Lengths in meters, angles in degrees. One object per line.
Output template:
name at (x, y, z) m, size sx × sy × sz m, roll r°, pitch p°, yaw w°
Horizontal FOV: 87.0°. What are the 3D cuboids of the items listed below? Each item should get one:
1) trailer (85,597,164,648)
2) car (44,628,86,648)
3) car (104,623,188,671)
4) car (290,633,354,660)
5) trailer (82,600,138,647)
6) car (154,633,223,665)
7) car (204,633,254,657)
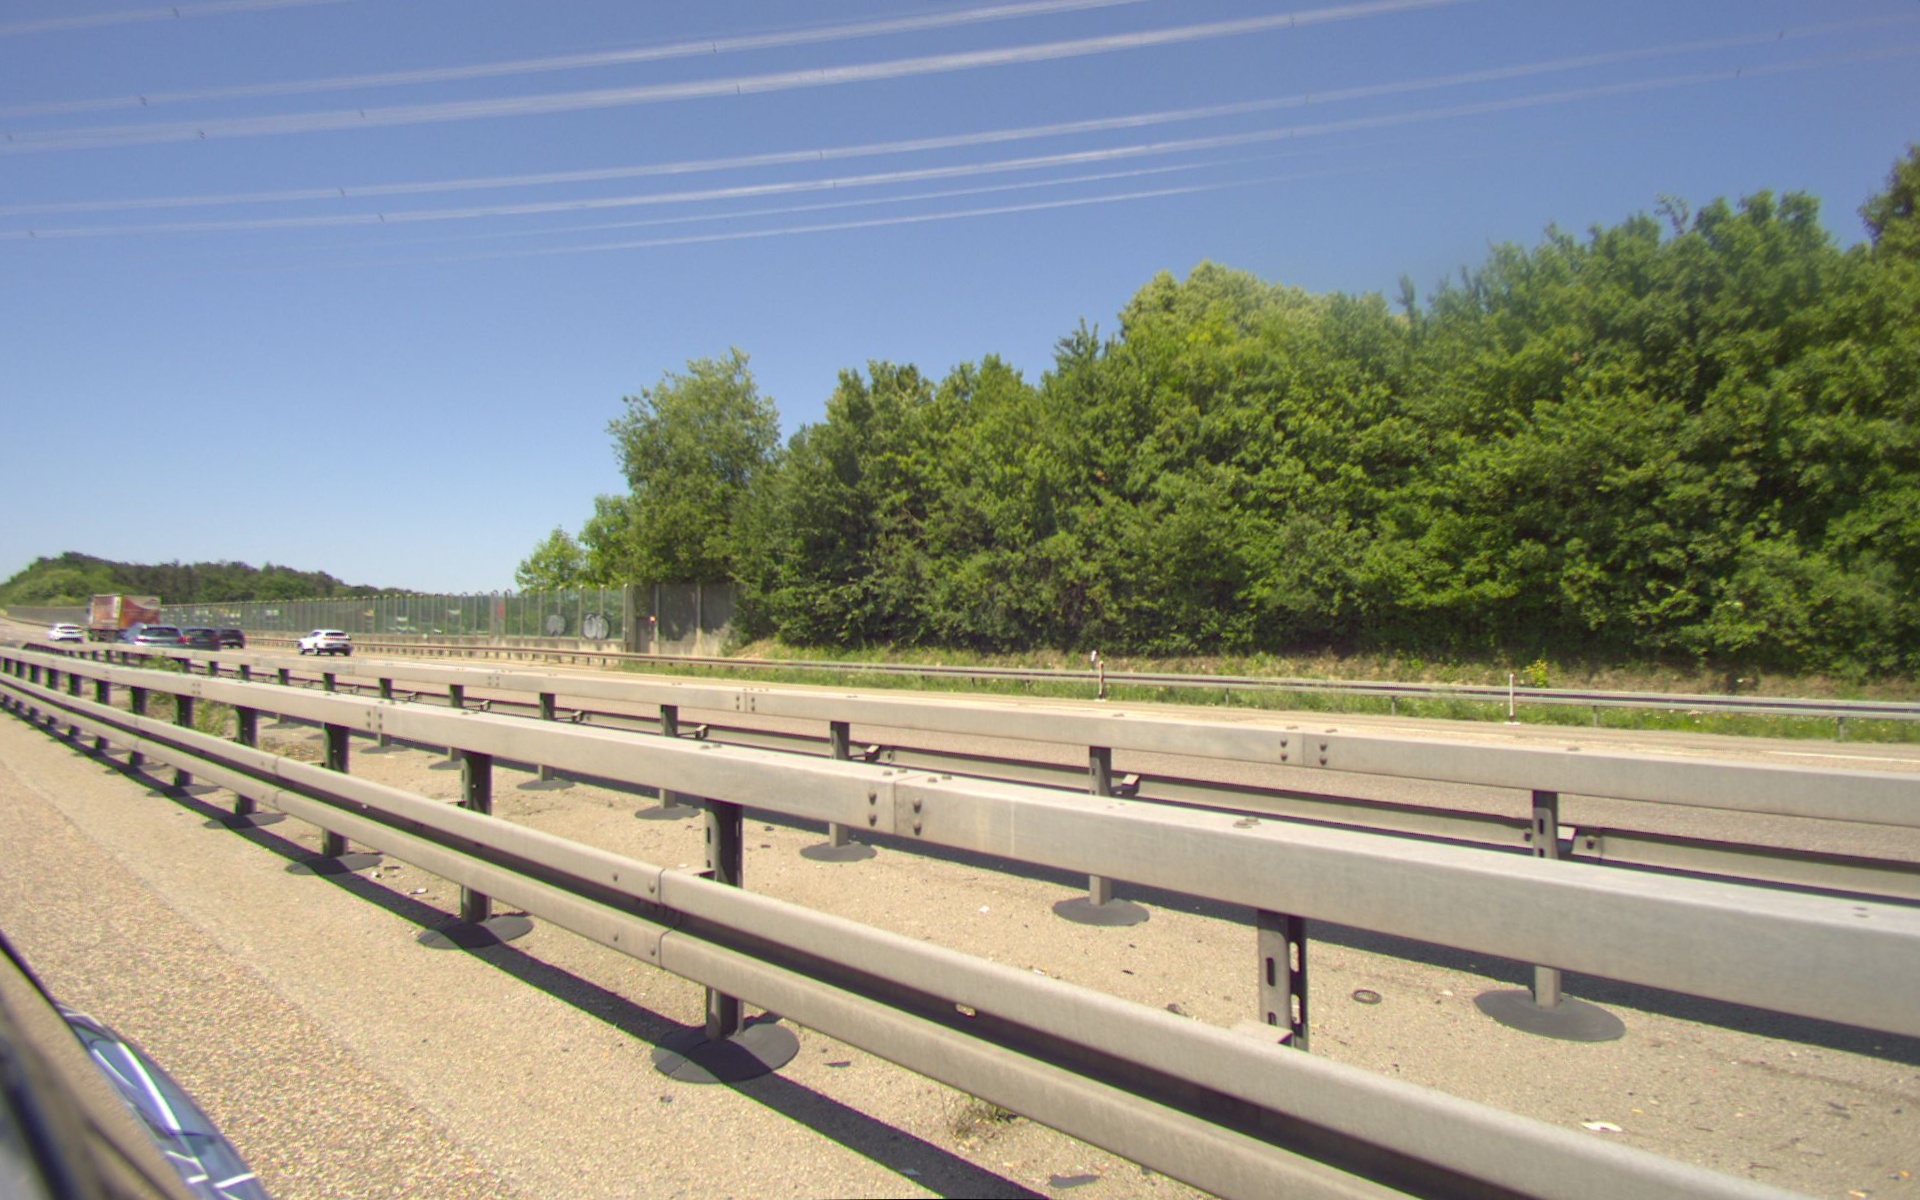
trailer at (-70.634, 1.985, 85.370) m, size 14.675 × 4.007 × 2.734 m, roll -2°, pitch -4°, yaw 42°
car at (-69.947, 2.932, 79.043) m, size 4.301 × 1.478 × 1.831 m, roll -1°, pitch -2°, yaw 40°
car at (-30.748, 1.740, 38.202) m, size 3.948 × 1.643 × 1.755 m, roll -1°, pitch 0°, yaw 40°
car at (-37.262, 2.695, 59.108) m, size 4.338 × 1.467 × 1.670 m, roll -1°, pitch -3°, yaw 37°
trailer at (-75.035, 2.140, 89.314) m, size 6.129 × 4.007 × 2.728 m, roll -2°, pitch -4°, yaw 41°
car at (-37.871, 2.395, 49.645) m, size 4.142 × 1.457 × 1.857 m, roll -1°, pitch -3°, yaw 41°
car at (-54.872, 3.352, 75.921) m, size 5.274 × 1.588 × 1.972 m, roll -1°, pitch 0°, yaw 42°
